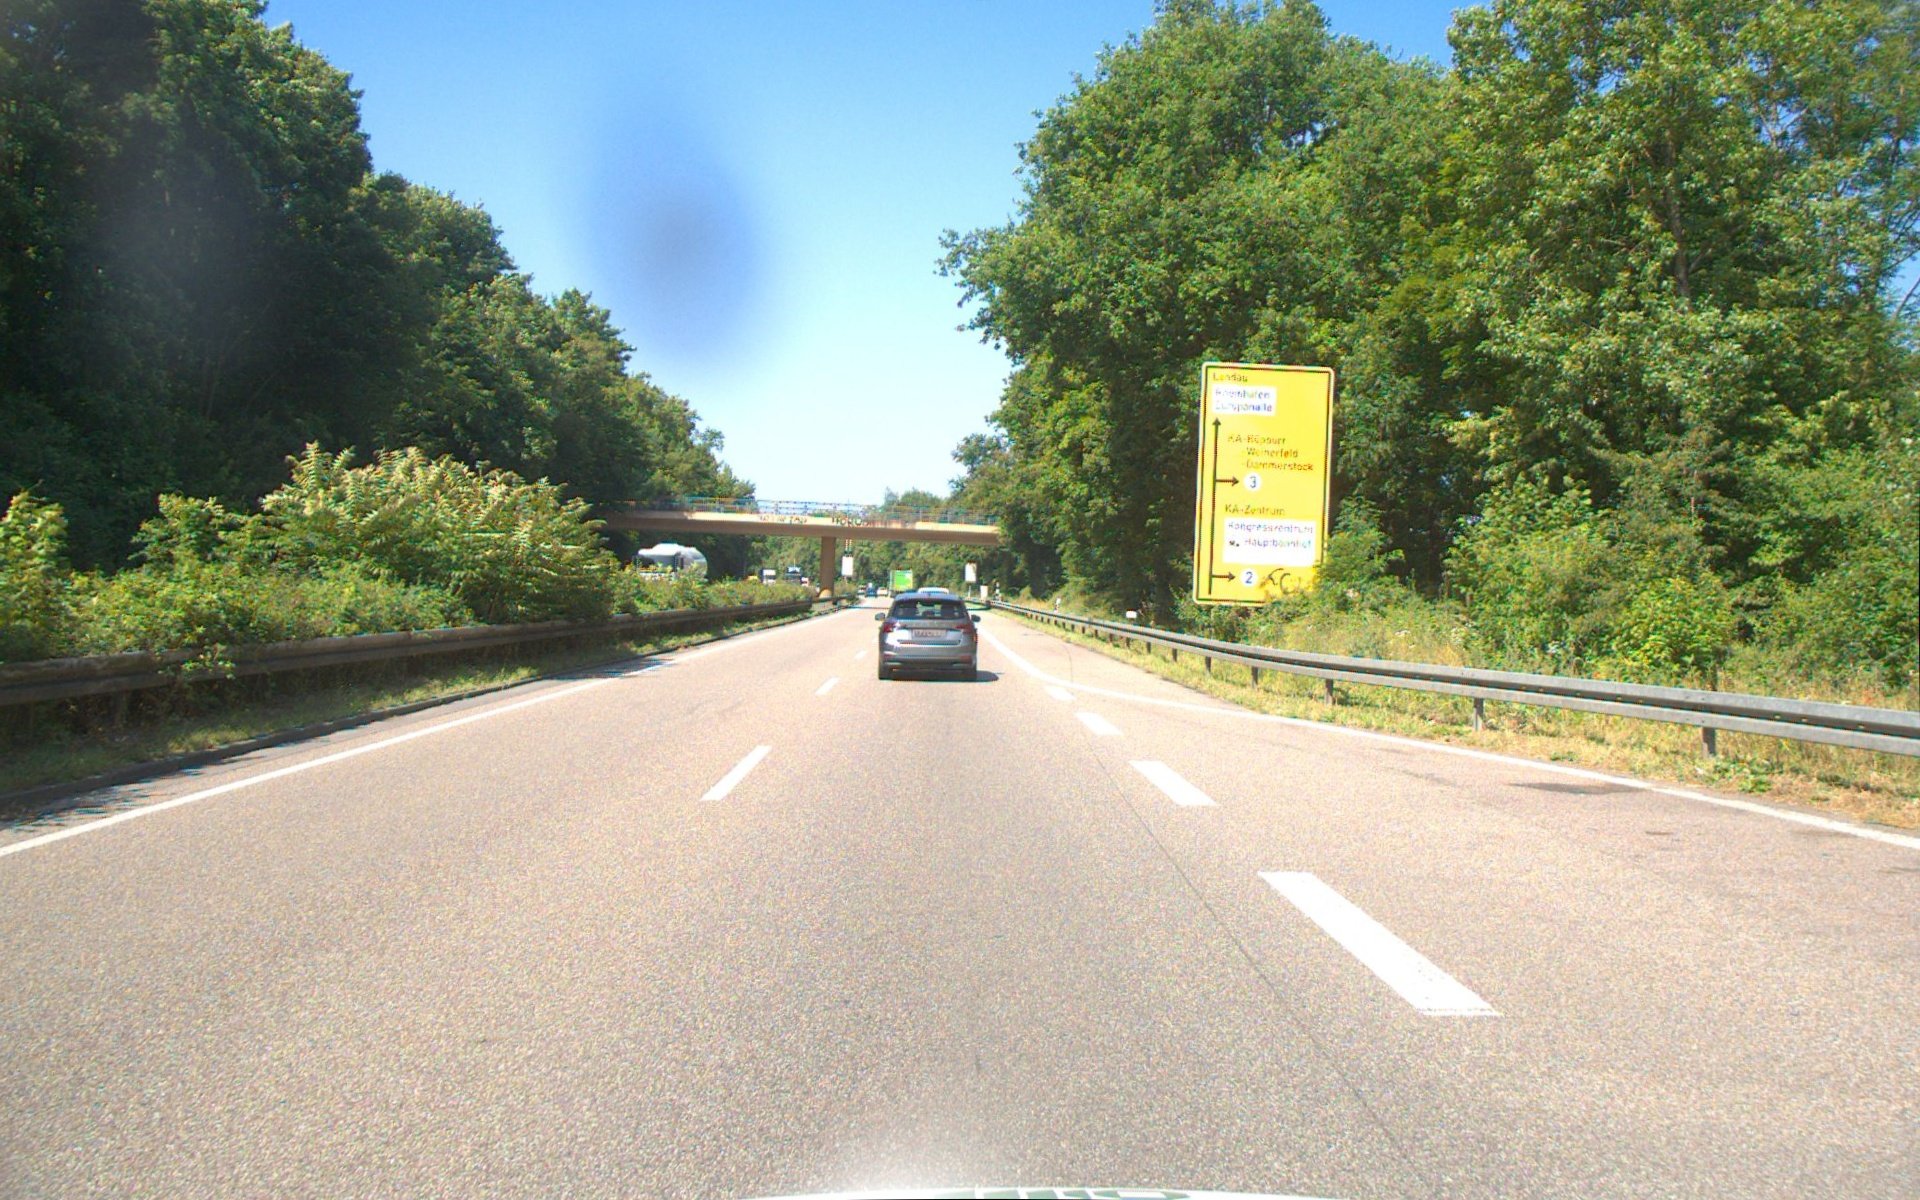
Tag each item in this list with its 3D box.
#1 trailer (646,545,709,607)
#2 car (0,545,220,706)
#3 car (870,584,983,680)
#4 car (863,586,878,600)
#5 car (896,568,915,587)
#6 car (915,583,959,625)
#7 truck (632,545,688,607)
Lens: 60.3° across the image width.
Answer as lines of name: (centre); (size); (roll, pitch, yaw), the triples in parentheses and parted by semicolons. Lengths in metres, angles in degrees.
trailer: (-17.006, -1.403, 100.200); (1.953, 3.461, 11.417); (1, 0, -1)
car: (-11.453, 0.270, 21.198); (1.804, 1.834, 4.551); (1, 0, 1)
car: (-0.520, 0.502, 28.666); (1.802, 1.497, 3.624); (1, 1, 0)
car: (-13.067, -0.999, 241.003); (1.953, 2.049, 3.999); (1, 0, -1)
car: (-7.826, -3.230, 238.655); (2.693, 2.700, 3.999); (1, 0, -1)
car: (-0.829, 0.110, 61.130); (1.491, 1.472, 3.340); (1, 1, 1)
truck: (-16.922, -1.329, 93.506); (2.291, 3.400, 4.541); (1, 0, -1)
